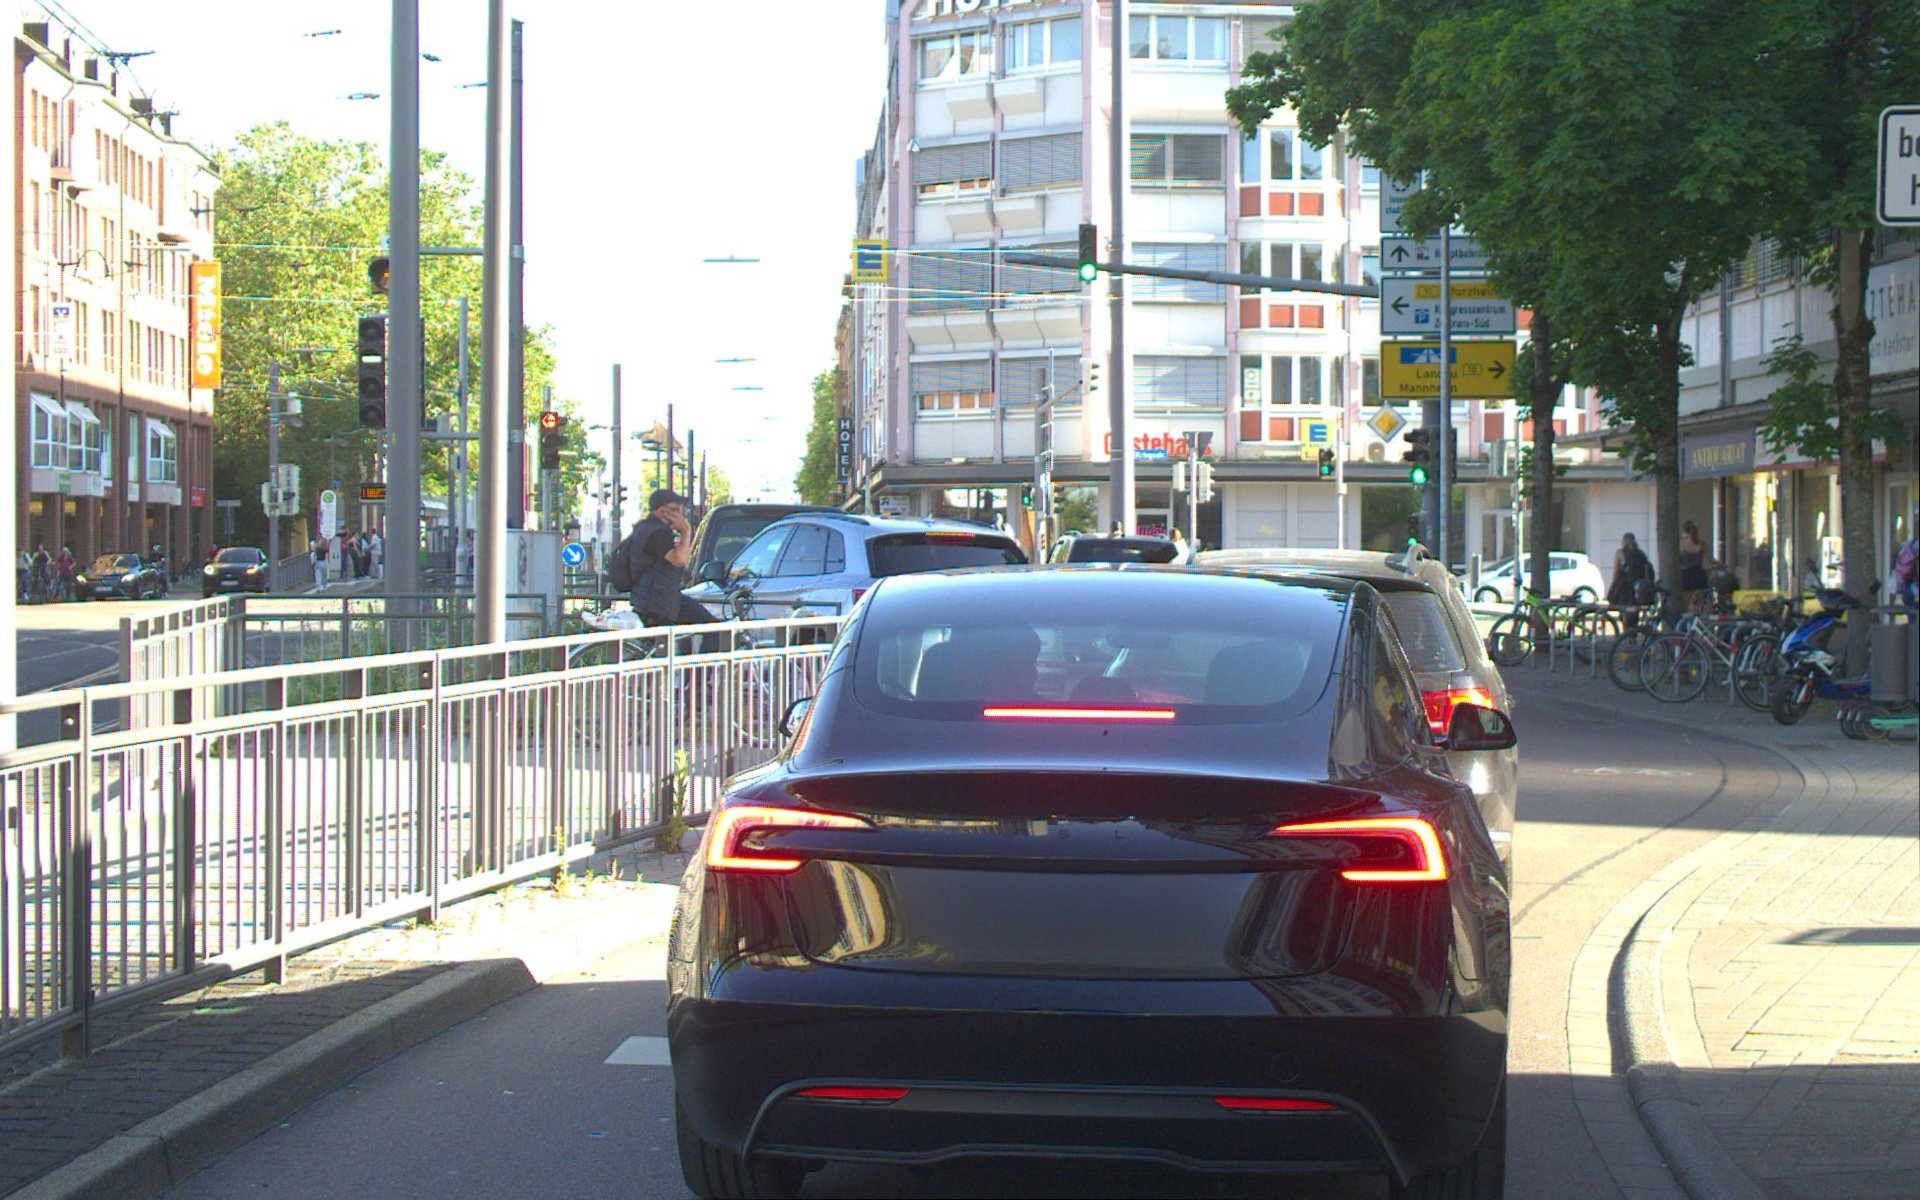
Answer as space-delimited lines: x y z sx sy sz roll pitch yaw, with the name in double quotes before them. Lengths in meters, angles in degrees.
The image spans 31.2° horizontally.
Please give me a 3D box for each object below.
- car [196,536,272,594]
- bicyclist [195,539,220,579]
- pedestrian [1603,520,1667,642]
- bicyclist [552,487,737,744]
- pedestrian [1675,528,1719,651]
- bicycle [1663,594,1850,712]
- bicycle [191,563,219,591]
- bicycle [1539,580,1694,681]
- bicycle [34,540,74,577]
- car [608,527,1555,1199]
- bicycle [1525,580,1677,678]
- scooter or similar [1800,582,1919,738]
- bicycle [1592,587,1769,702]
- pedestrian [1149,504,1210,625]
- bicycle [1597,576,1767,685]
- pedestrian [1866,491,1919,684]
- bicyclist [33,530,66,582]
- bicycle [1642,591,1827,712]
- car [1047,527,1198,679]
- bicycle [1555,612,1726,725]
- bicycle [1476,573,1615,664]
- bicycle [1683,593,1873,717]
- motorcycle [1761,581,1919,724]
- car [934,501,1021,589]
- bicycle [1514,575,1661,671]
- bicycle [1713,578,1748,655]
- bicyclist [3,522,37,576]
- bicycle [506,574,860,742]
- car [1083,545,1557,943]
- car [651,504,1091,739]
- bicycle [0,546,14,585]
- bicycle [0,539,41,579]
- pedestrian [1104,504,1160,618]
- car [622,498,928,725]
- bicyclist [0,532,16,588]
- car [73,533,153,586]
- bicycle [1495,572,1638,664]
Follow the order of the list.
"car" -22.341 -1.087 105.897 1.697 1.725 3.707 1 1 -3
"bicyclist" -29.404 -1.596 134.369 0.784 1.558 0.746 1 0 2
"pedestrian" 9.329 -0.264 47.537 0.699 1.656 0.777 1 0 -1
"bicyclist" -2.047 0.093 22.273 0.758 1.623 0.978 0 1 -39
"pedestrian" 10.255 -0.148 47.853 0.526 1.704 0.403 1 0 4
"bicycle" 7.286 0.486 31.450 1.649 1.057 0.350 1 0 -10
"bicycle" -29.419 -0.888 134.012 0.529 1.085 2.224 1 1 1
"bicycle" 7.310 0.342 38.302 1.650 1.095 0.350 1 0 1
"bicycle" -27.211 -1.243 103.274 0.529 1.085 2.284 0 0 1
"car" 0.379 0.577 8.694 1.829 1.450 3.999 1 1 4
"bicycle" 7.329 0.329 39.329 1.650 1.095 0.350 1 0 1
"scooter or similar" 7.557 0.472 27.190 1.644 1.211 0.644 1 0 30
"bicycle" 6.999 0.433 33.401 1.649 1.095 0.350 1 0 -10
"pedestrian" 3.681 -0.596 57.767 0.921 2.007 0.972 1 0 -1
"bicycle" 7.419 0.313 35.349 1.650 1.095 0.350 1 0 1
"pedestrian" 9.961 -0.133 36.233 0.662 2.007 0.579 1 0 2
"bicyclist" -27.184 -1.325 102.673 0.784 1.558 0.746 0 1 2
"bicycle" 7.181 0.476 31.874 1.649 1.095 0.350 1 0 -10
"car" 1.961 0.017 42.393 1.598 1.772 3.981 1 1 -1
"bicycle" 6.790 0.684 34.316 1.649 1.095 0.350 1 0 -10
"bicycle" 7.231 0.221 42.481 1.650 1.095 0.350 1 0 1
"bicycle" 7.383 0.495 31.029 1.649 1.095 0.350 1 0 -10
"motorcycle" 7.717 0.444 29.141 1.707 1.169 0.541 1 0 -2
"car" 0.346 -1.128 71.196 1.719 1.745 3.754 1 1 -1
"bicycle" 7.362 0.269 40.341 1.650 1.095 0.350 1 0 1
"bicycle" 10.632 0.221 47.431 0.332 1.030 1.256 1 0 7
"bicyclist" -27.342 -1.480 100.003 0.784 1.558 0.746 0 1 1
"bicycle" -1.790 0.367 22.489 2.329 1.050 0.631 0 1 -38
"car" 1.552 0.505 14.912 1.751 1.449 3.999 1 1 6
"car" -0.782 0.131 26.540 1.883 1.656 4.159 1 1 -25
"bicycle" -26.927 -0.967 95.656 0.537 1.085 2.225 1 1 1
"bicycle" -27.334 -1.195 99.926 0.529 1.085 2.284 5 0 1
"pedestrian" 3.063 -0.692 61.235 0.921 2.007 0.972 1 0 -1
"car" -1.828 0.077 32.627 1.993 2.007 4.001 0 1 -17
"bicyclist" -26.930 -1.127 96.258 0.784 1.558 0.746 1 0 0
"car" -25.265 -1.207 102.687 1.710 1.521 4.037 1 1 -5
"bicycle" 7.299 0.212 41.387 1.650 1.095 0.350 0 1 1
